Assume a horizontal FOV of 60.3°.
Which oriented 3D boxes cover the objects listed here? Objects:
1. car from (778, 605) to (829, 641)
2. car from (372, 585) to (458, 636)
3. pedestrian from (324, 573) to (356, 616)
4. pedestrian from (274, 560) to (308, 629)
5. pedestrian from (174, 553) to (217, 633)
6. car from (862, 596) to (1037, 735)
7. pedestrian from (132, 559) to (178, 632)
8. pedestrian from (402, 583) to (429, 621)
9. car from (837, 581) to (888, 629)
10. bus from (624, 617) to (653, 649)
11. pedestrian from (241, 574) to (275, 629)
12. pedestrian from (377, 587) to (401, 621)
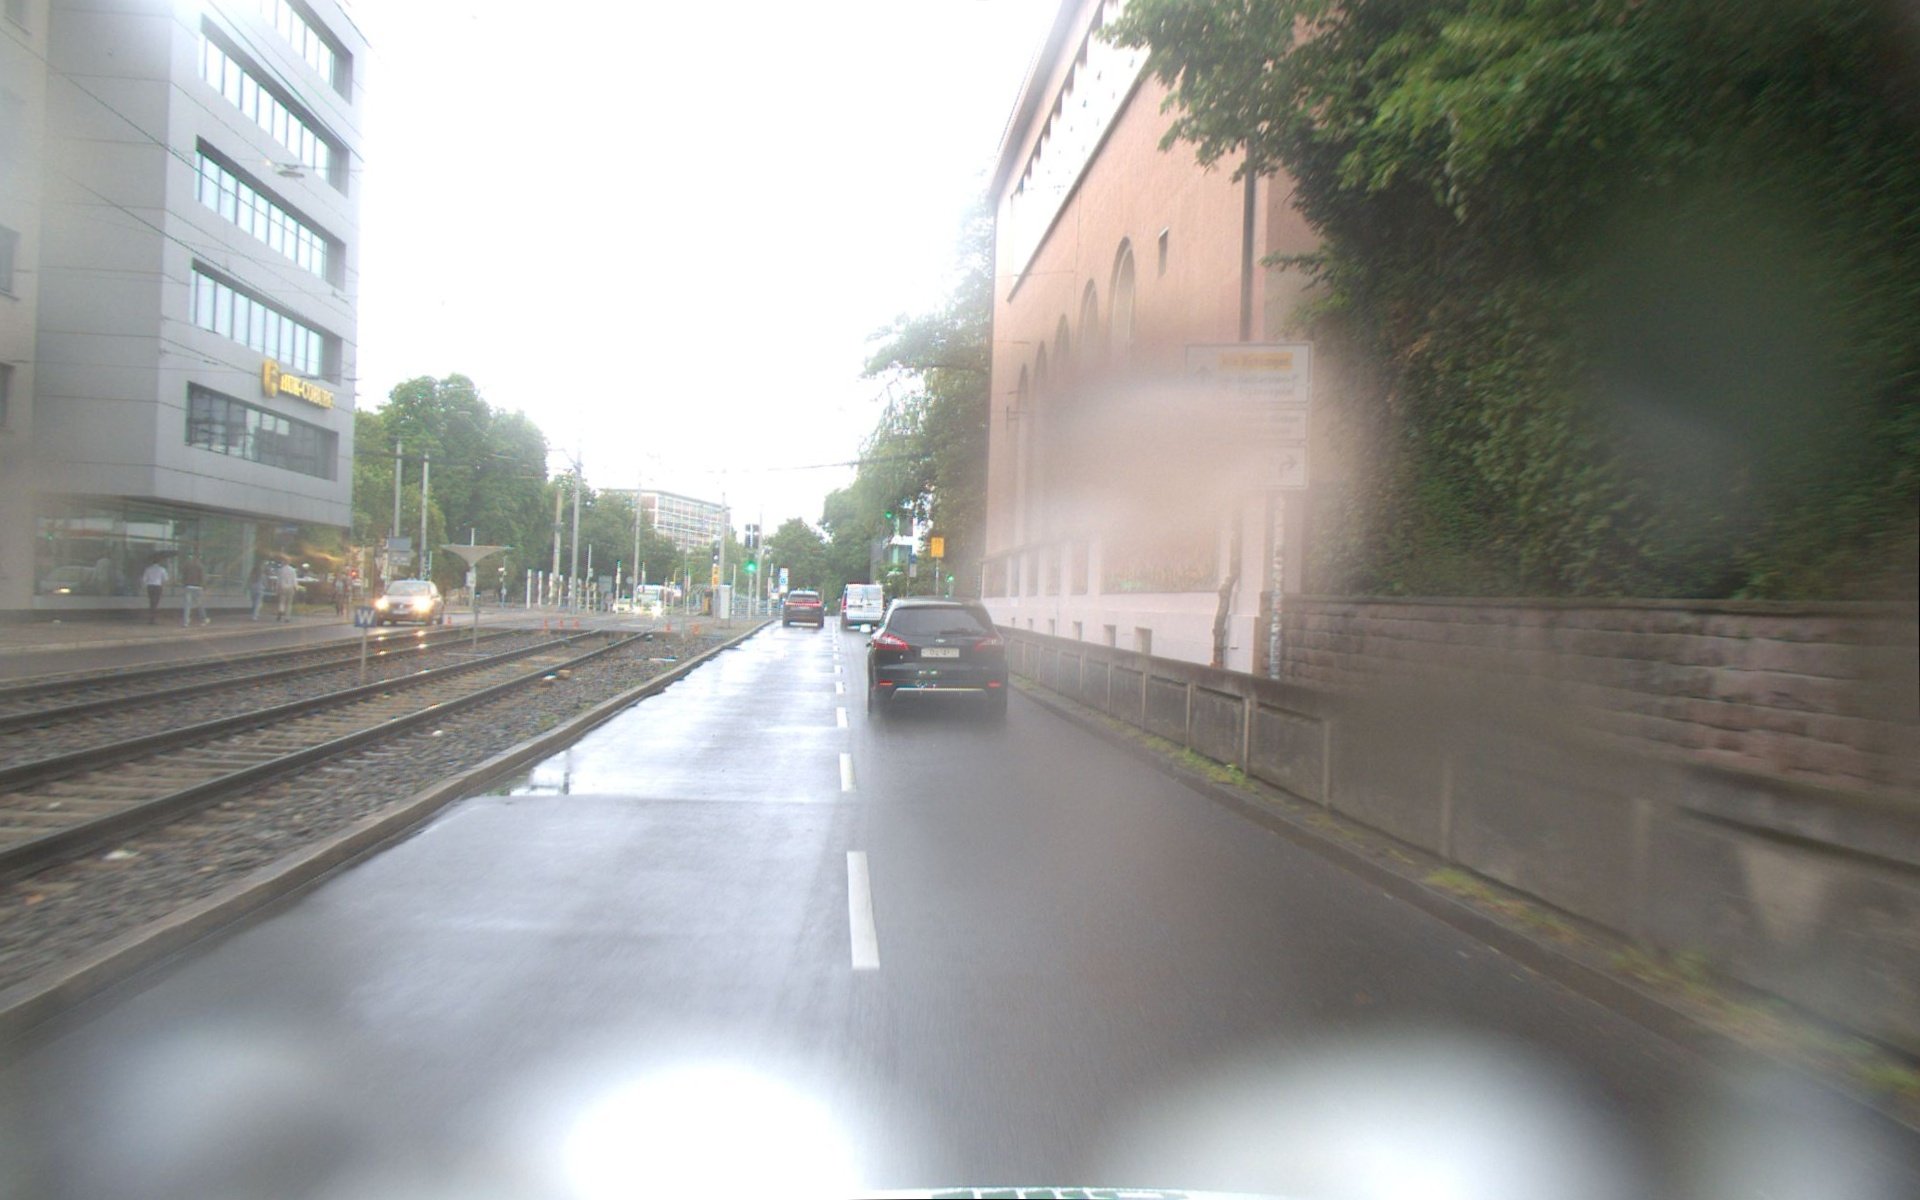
[{"bbox_3d":[-6.941,1.015,73.561,2.057,1.532,4.728,1,-1,-3],"label":"car"},{"bbox_3d":[-17.926,0.357,54.618,1.903,1.563,4.341,-1,0,-8],"label":"car"},{"bbox_3d":[-24.688,-0.220,65.878,0.956,1.622,0.581,4,-2,-37],"label":"pedestrian"},{"bbox_3d":[-20.307,-0.162,50.196,0.657,2.049,0.607,5,-2,-43],"label":"pedestrian"},{"bbox_3d":[-20.068,-0.172,43.415,0.648,2.049,0.810,3,-1,-4],"label":"pedestrian"},{"bbox_3d":[-0.250,0.807,22.167,1.996,1.612,4.388,2,-1,-4],"label":"car"},{"bbox_3d":[-21.034,-0.104,43.212,0.648,1.847,0.972,3,-1,-4],"label":"pedestrian"},{"bbox_3d":[-28.018,0.105,85.131,0.980,1.895,0.912,4,-1,-3],"label":"pedestrian"},{"bbox_3d":[-4.017,0.211,68.760,1.995,1.872,4.389,2,-1,-3],"label":"car"},{"bbox_3d":[-34.975,3.568,180.169,3.022,3.359,12.488,1,-1,-11],"label":"bus"},{"bbox_3d":[-21.175,0.047,49.919,0.574,1.622,0.636,3,-1,12],"label":"pedestrian"},{"bbox_3d":[-28.051,0.203,81.260,0.986,1.622,0.907,4,-1,-22],"label":"pedestrian"}]
